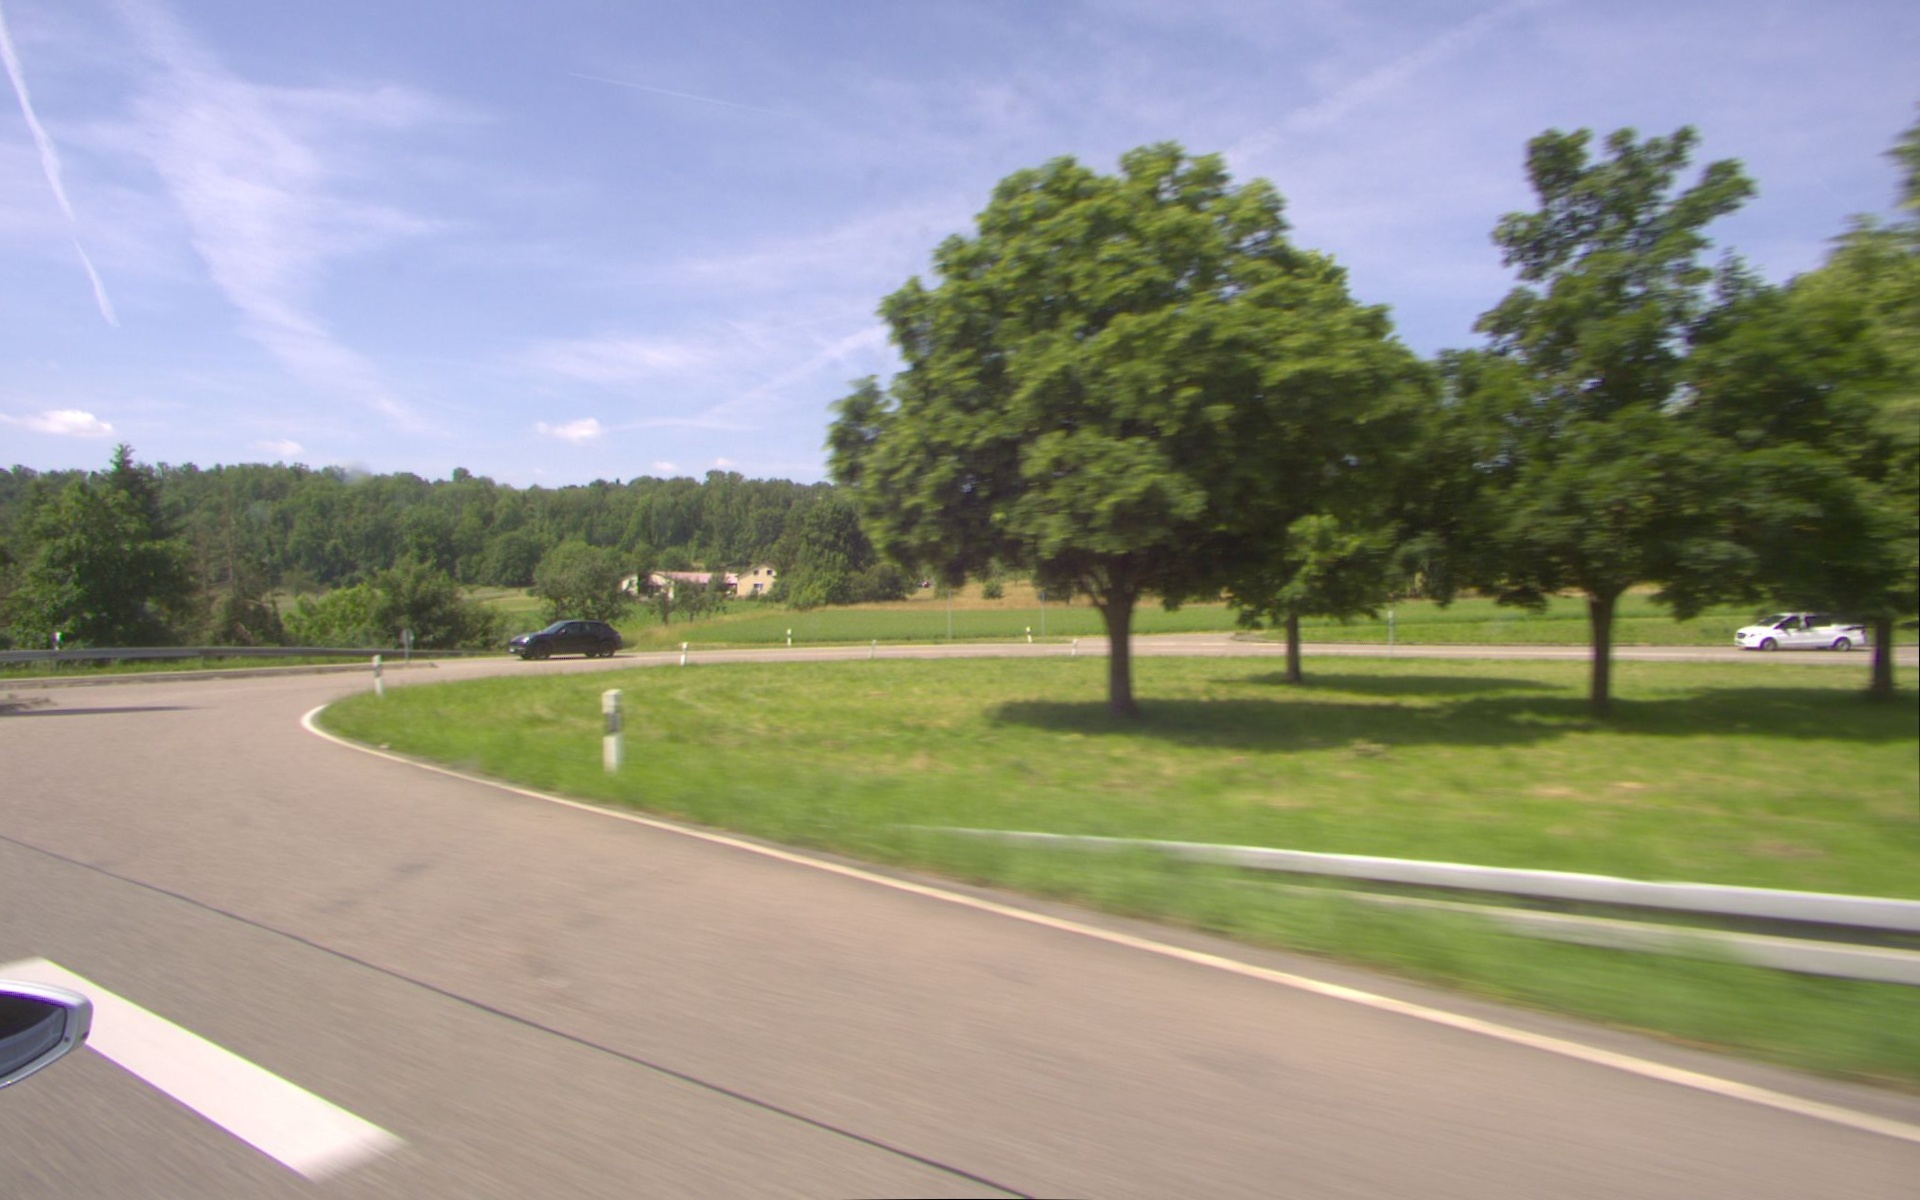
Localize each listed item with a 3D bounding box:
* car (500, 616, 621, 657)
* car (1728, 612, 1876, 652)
[{"bbox_3d":[-17.114,1.531,42.983,4.382,1.610,2.046,0,-1,-42],"label":"car"},{"bbox_3d":[42.310,1.612,50.485,5.321,1.872,1.997,0,2,15],"label":"car"}]
